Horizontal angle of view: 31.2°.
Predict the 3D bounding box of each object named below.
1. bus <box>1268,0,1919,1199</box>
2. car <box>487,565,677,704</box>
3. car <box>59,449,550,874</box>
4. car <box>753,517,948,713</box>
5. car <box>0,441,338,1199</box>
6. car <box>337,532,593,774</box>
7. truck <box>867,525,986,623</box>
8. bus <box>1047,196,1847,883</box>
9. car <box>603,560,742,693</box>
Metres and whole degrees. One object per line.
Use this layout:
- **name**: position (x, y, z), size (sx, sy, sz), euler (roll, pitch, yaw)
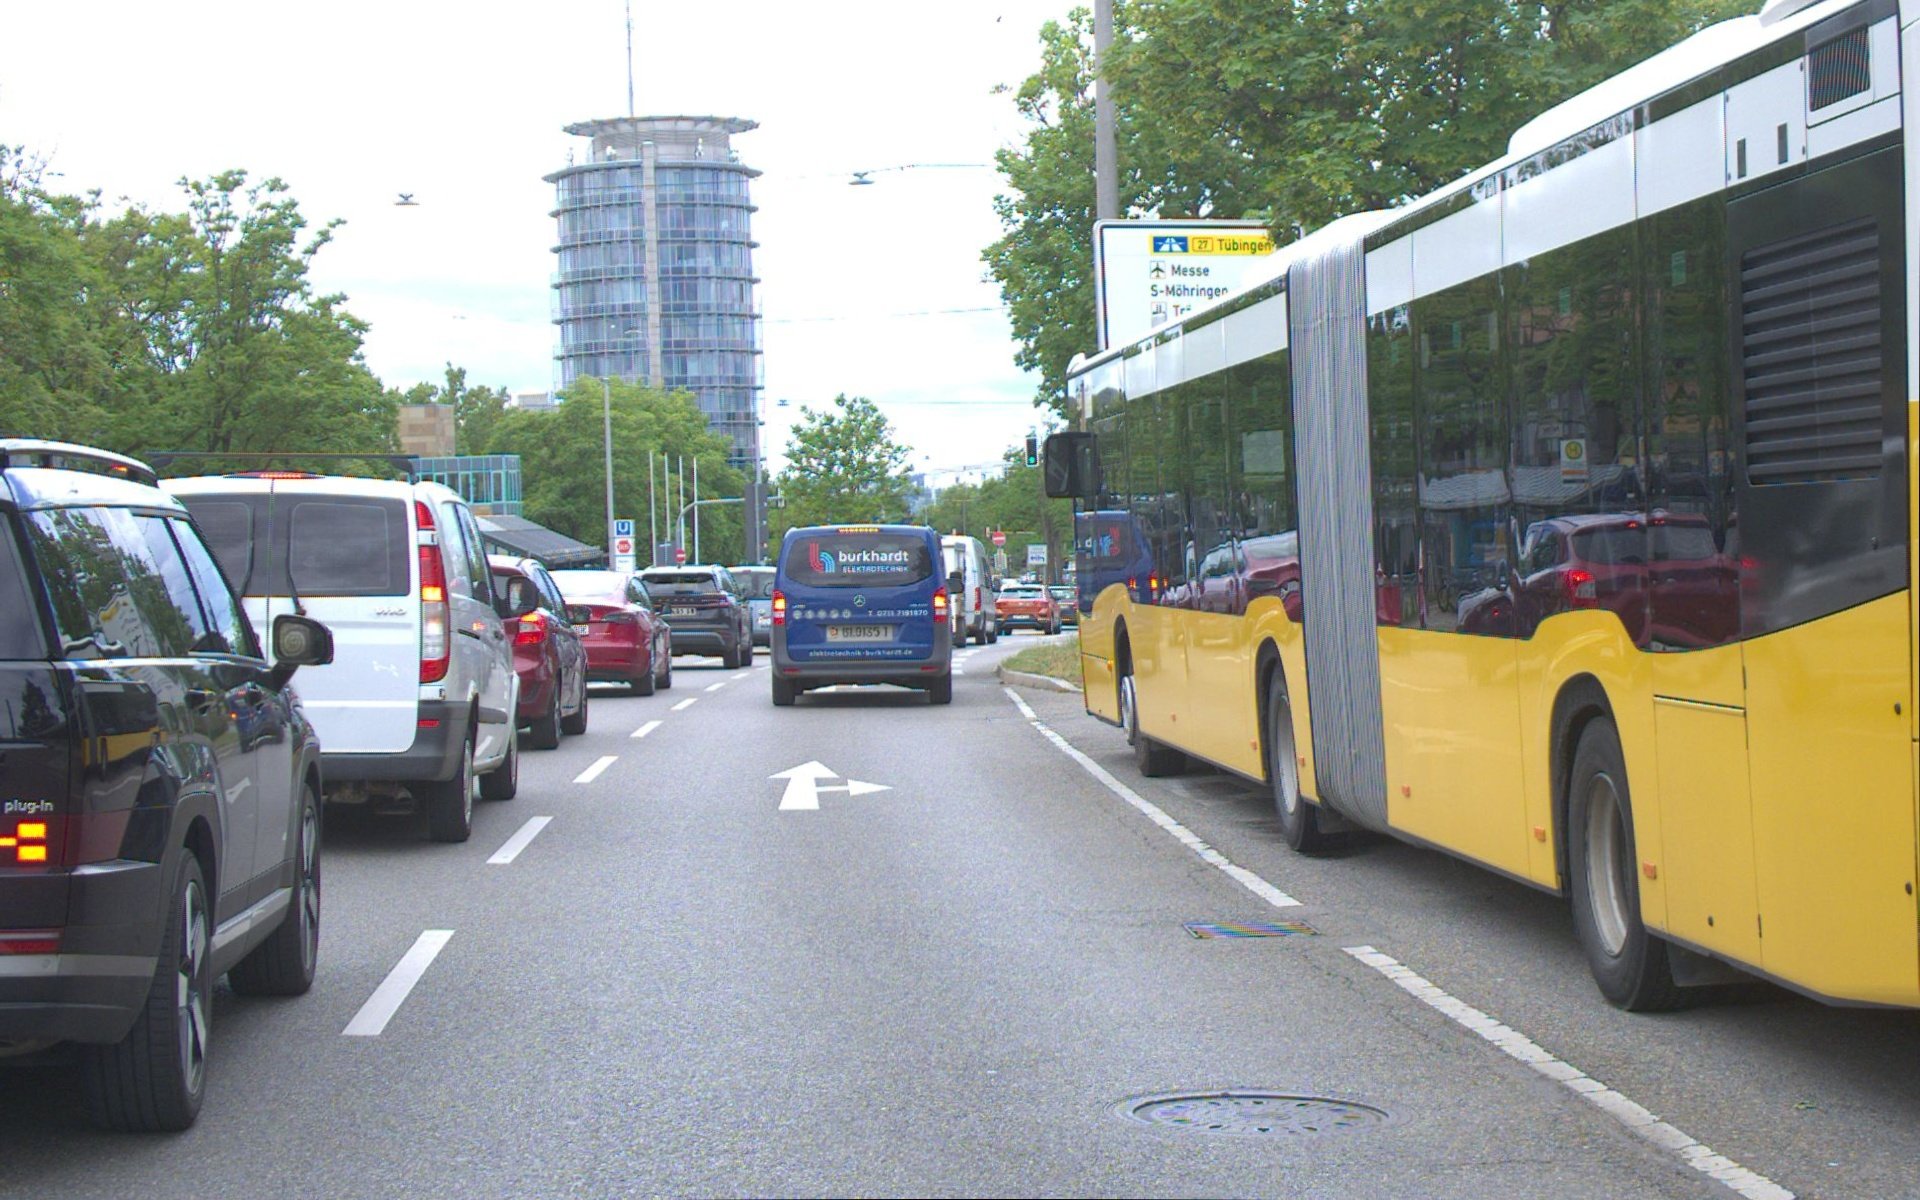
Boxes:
- **bus**: position (3.171, -0.310, 11.887), size (2.712, 3.098, 8.871), euler (-2, 1, -4)
- **car**: position (-4.360, 0.408, 40.156), size (1.868, 1.481, 4.000), euler (-2, -1, -2)
- **car**: position (-3.501, 0.255, 19.325), size (1.873, 2.007, 5.076), euler (-2, 1, -2)
- **car**: position (-1.178, 0.158, 37.097), size (1.947, 1.959, 4.542), euler (-1, 0, -2)
- **car**: position (-2.993, 0.510, 9.853), size (1.922, 1.745, 4.679), euler (0, 0, -5)
- **car**: position (-3.964, 0.419, 28.066), size (1.746, 1.718, 4.000), euler (-4, 0, -5)
- **truck**: position (-0.724, -0.594, 78.965), size (1.994, 2.158, 5.557), euler (0, 0, 7)
- **bus**: position (2.443, -0.367, 20.878), size (2.712, 3.153, 9.129), euler (-2, 1, -5)
- **car**: position (-4.543, 0.388, 54.842), size (1.993, 2.007, 4.000), euler (0, 1, -2)
